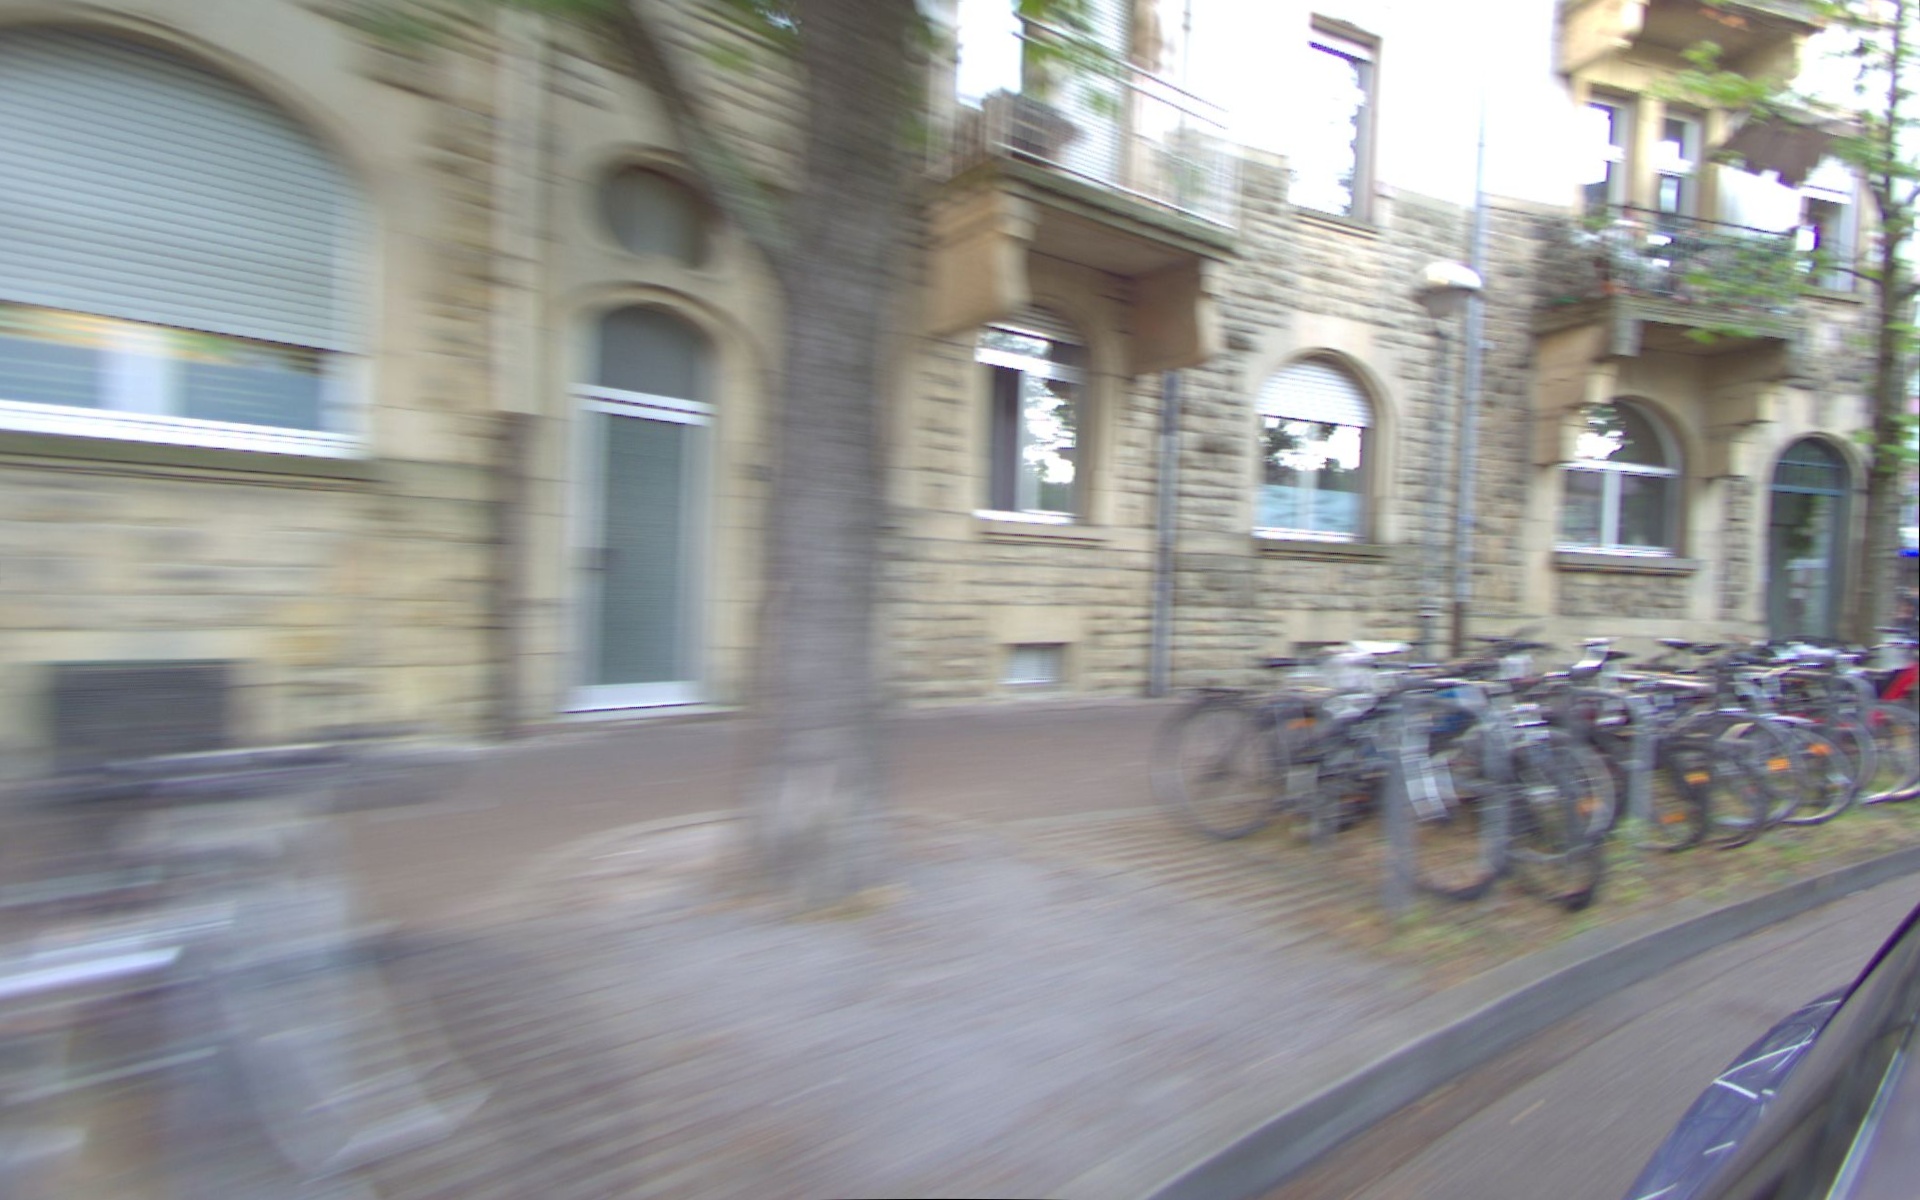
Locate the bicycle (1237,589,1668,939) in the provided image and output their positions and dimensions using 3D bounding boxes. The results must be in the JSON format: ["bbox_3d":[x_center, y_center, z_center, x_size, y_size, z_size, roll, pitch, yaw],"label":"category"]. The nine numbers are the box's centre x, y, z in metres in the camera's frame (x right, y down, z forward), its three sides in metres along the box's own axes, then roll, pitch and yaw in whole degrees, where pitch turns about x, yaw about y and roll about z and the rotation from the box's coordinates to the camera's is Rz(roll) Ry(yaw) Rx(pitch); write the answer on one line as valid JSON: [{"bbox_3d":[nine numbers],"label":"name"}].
[{"bbox_3d":[2.198,0.627,4.811,0.482,1.230,1.888,-5,6,-29],"label":"bicycle"}]

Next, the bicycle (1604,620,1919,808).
[{"bbox_3d":[5.647,0.722,7.161,0.410,1.026,1.859,1,2,-25],"label":"bicycle"}]

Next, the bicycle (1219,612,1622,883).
[{"bbox_3d":[2.390,0.684,5.409,1.846,1.117,0.566,4,2,38],"label":"bicycle"}]

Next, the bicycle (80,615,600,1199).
[{"bbox_3d":[-1.389,0.637,2.098,1.670,1.091,0.479,4,3,43],"label":"bicycle"}]

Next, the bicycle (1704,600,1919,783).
[{"bbox_3d":[6.837,0.665,7.598,0.541,1.214,1.924,1,2,-28],"label":"bicycle"}]

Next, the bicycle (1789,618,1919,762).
[{"bbox_3d":[7.832,0.748,8.096,0.438,1.076,1.800,1,2,-26],"label":"bicycle"}]

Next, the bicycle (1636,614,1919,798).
[{"bbox_3d":[6.135,0.709,7.393,0.541,1.078,1.924,1,2,-28],"label":"bicycle"}]

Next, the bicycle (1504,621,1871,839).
[{"bbox_3d":[4.517,0.736,6.462,0.410,1.064,1.858,1,2,-29],"label":"bicycle"}]

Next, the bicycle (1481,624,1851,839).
[{"bbox_3d":[4.273,0.723,6.313,0.410,1.012,1.858,1,2,-29],"label":"bicycle"}]

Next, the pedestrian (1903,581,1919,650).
[{"bbox_3d":[23.514,0.383,24.550,0.664,1.657,0.592,2,2,-15],"label":"pedestrian"}]

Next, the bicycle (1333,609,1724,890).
[{"bbox_3d":[2.938,0.686,5.480,0.410,1.158,1.858,1,2,-29],"label":"bicycle"}]

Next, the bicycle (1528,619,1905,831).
[{"bbox_3d":[4.905,0.732,6.742,0.524,1.074,1.924,1,2,-28],"label":"bicycle"}]

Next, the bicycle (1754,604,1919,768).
[{"bbox_3d":[7.446,0.679,7.986,0.438,1.182,1.800,1,2,-26],"label":"bicycle"}]

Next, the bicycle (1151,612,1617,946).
[{"bbox_3d":[1.817,0.687,4.616,0.483,1.154,1.881,6,-2,-43],"label":"bicycle"}]

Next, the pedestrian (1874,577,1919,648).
[{"bbox_3d":[22.611,0.293,24.331,0.668,1.657,0.588,3,2,14],"label":"pedestrian"}]

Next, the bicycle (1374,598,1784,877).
[{"bbox_3d":[3.297,0.650,5.590,0.412,1.137,1.858,-20,12,-27],"label":"bicycle"}]

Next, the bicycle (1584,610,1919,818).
[{"bbox_3d":[5.380,0.698,6.985,0.410,1.130,1.859,1,2,-25],"label":"bicycle"}]

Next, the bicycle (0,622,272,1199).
[{"bbox_3d":[-1.596,0.645,1.595,1.670,1.091,0.479,4,3,43],"label":"bicycle"}]

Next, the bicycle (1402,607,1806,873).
[{"bbox_3d":[3.534,0.691,5.742,0.412,1.099,1.858,-20,12,-27],"label":"bicycle"}]
